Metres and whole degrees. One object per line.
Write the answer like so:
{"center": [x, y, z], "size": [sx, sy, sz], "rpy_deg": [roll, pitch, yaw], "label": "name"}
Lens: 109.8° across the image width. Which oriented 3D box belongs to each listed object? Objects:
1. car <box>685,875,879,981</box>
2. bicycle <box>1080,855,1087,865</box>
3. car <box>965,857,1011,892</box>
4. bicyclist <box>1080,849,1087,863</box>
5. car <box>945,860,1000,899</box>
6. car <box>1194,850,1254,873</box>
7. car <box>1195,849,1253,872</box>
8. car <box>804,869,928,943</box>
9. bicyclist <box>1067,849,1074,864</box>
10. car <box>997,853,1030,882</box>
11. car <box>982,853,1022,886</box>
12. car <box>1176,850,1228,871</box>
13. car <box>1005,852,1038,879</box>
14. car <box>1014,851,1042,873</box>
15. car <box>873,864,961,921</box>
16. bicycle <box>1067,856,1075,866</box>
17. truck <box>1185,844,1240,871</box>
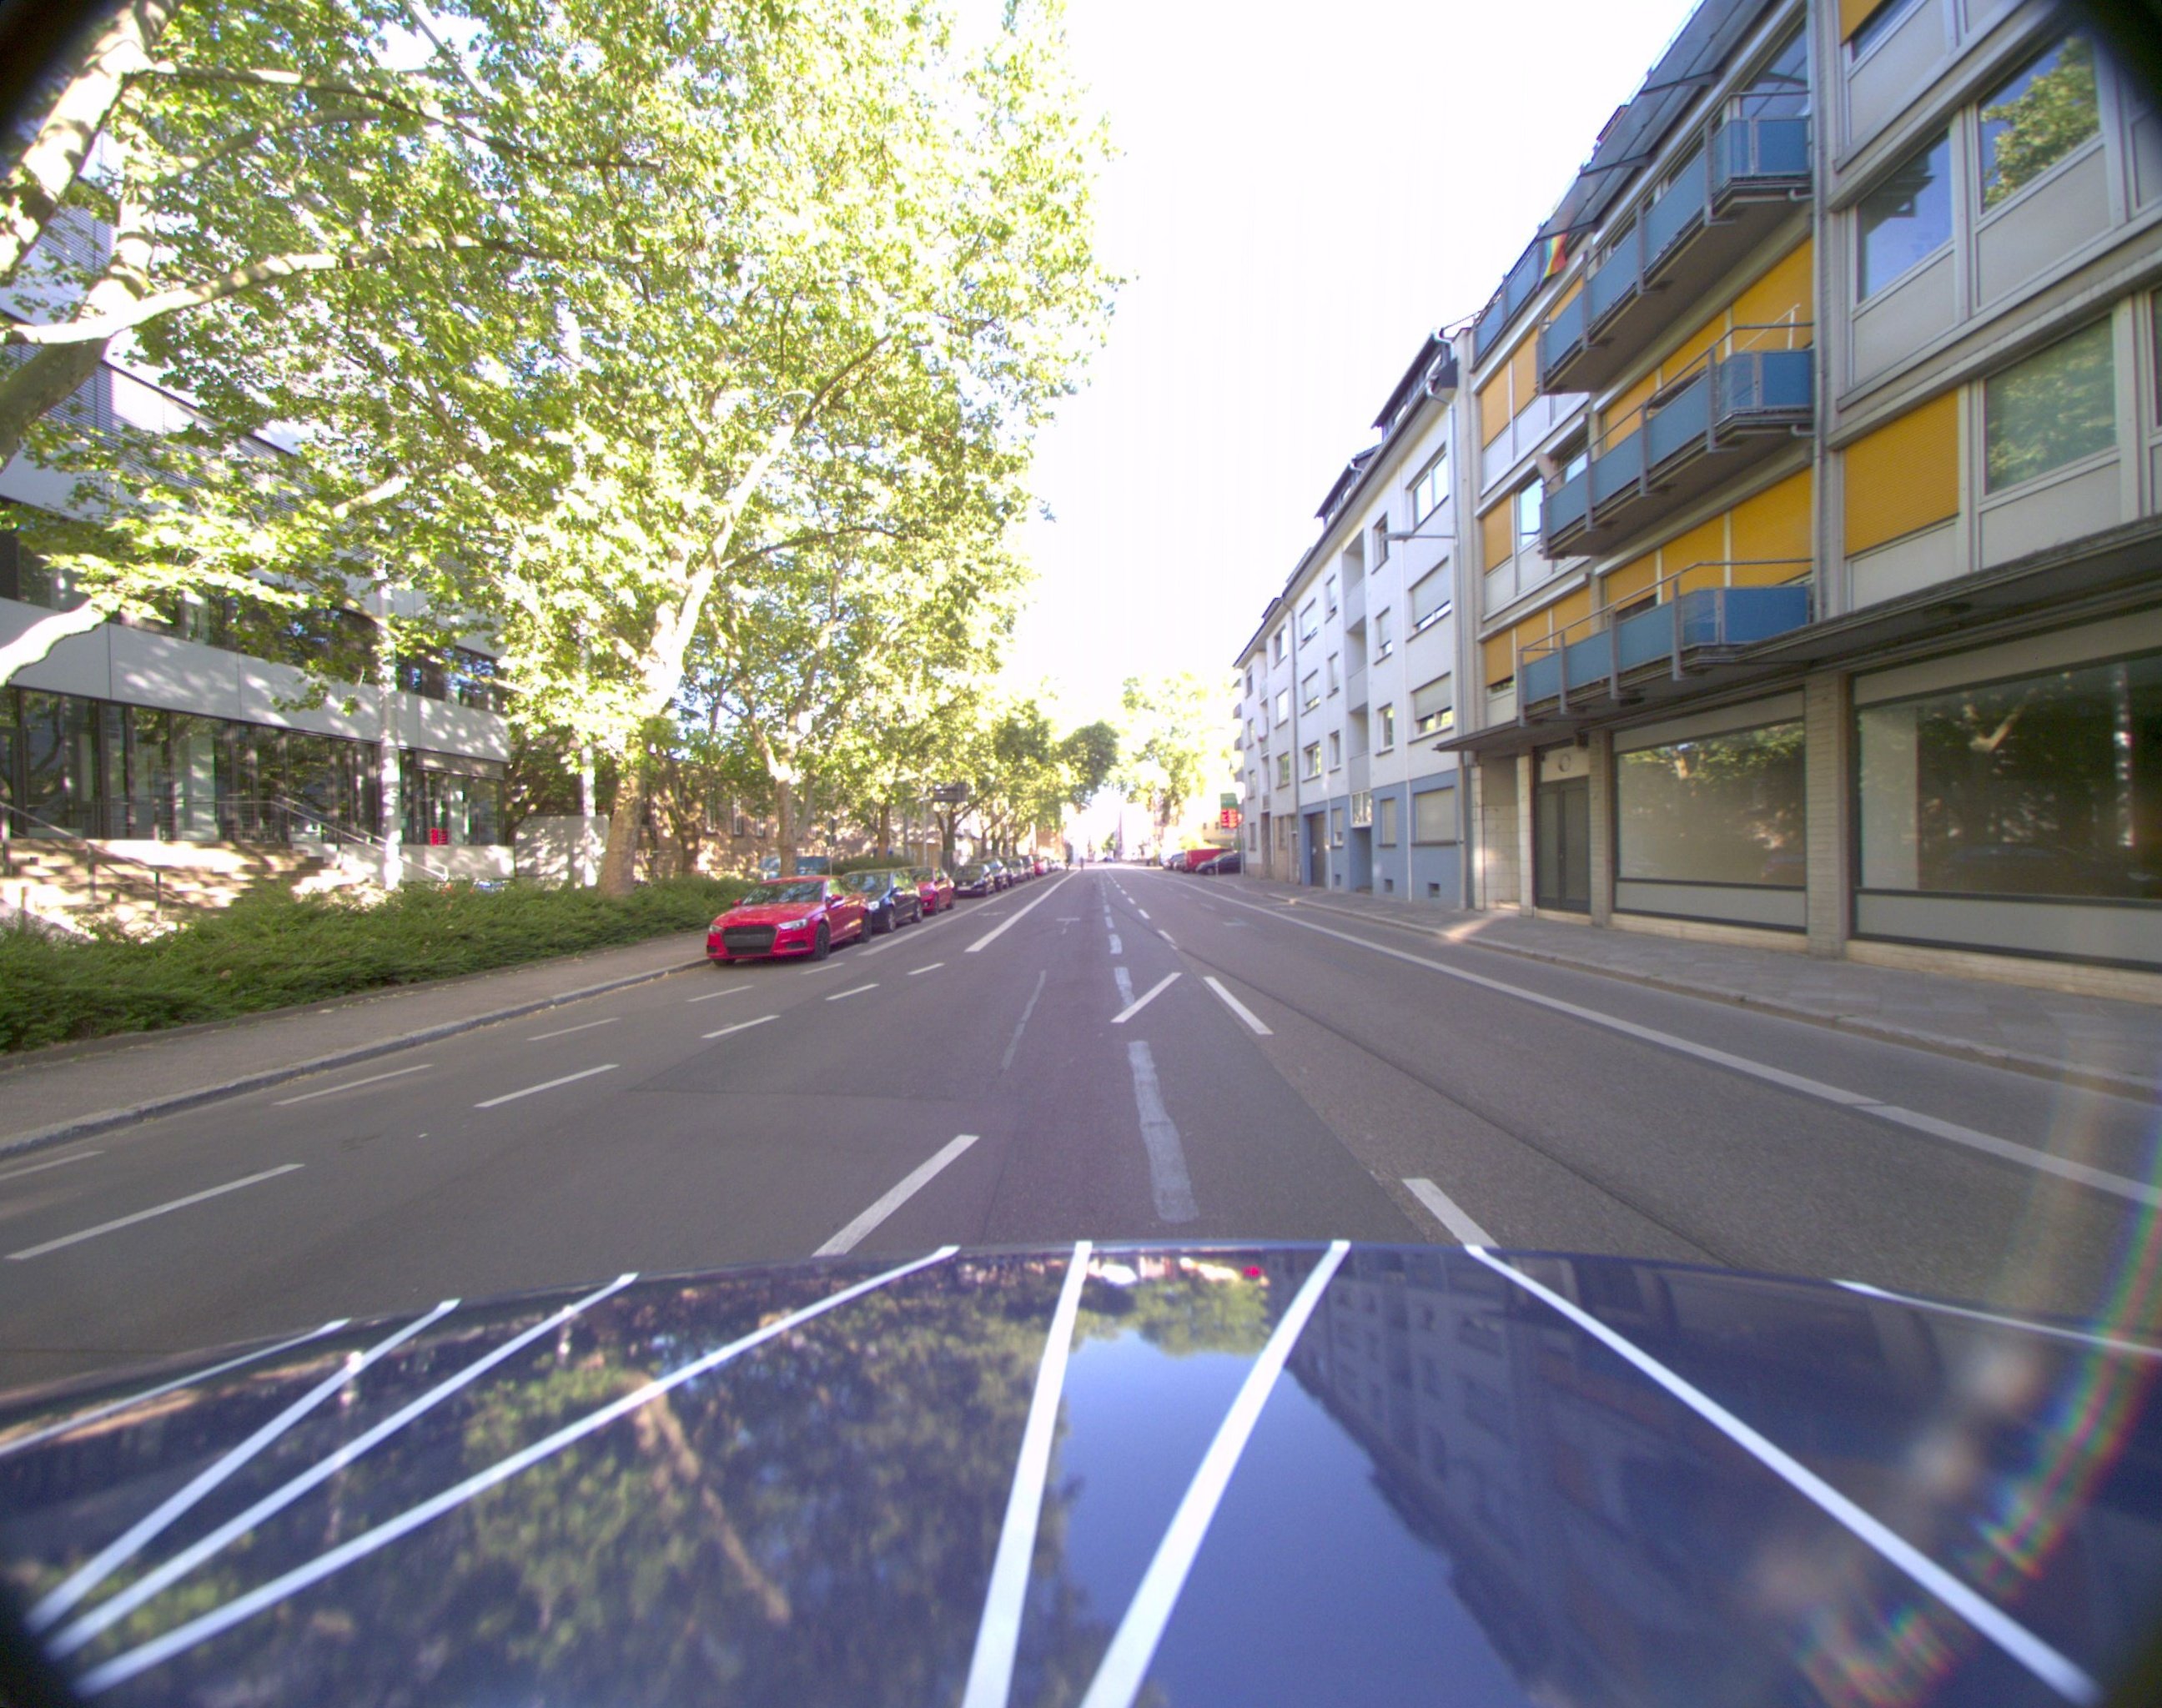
{"center": [-5.138, 1.193, 13.730], "size": [1.818, 1.405, 4.163], "rpy_deg": [-3, 0, 0], "label": "car"}
{"center": [0.273, 0.714, 86.005], "size": [0.717, 1.052, 2.485], "rpy_deg": [-2, 1, 1], "label": "bicycle"}
{"center": [-4.602, 0.978, 38.142], "size": [1.790, 1.544, 4.163], "rpy_deg": [-3, 0, 0], "label": "car"}
{"center": [0.251, 0.222, 86.007], "size": [0.718, 1.573, 0.936], "rpy_deg": [-2, 1, 1], "label": "bicyclist"}
{"center": [-4.703, 1.078, 33.396], "size": [1.790, 1.451, 4.163], "rpy_deg": [-3, 0, 0], "label": "car"}
{"center": [10.252, 0.543, 54.806], "size": [3.996, 1.449, 1.761], "rpy_deg": [-2, 1, 2], "label": "car"}
{"center": [10.726, 0.476, 57.153], "size": [3.996, 1.494, 1.761], "rpy_deg": [-2, 1, 2], "label": "car"}
{"center": [-5.083, 1.170, 18.586], "size": [1.818, 1.405, 4.163], "rpy_deg": [-3, 0, 0], "label": "car"}
{"center": [-1.148, 0.285, 85.244], "size": [0.718, 1.573, 0.936], "rpy_deg": [-2, 1, 1], "label": "bicyclist"}
{"center": [-4.448, 0.853, 50.714], "size": [1.790, 1.745, 4.552], "rpy_deg": [-3, 0, 0], "label": "car"}
{"center": [-4.526, 0.869, 44.159], "size": [1.790, 1.745, 4.345], "rpy_deg": [-3, 0, 0], "label": "car"}
{"center": [9.975, 0.523, 62.856], "size": [3.996, 1.494, 1.761], "rpy_deg": [-2, 1, 2], "label": "car"}
{"center": [-4.319, 0.797, 55.673], "size": [2.042, 1.745, 4.552], "rpy_deg": [-3, 0, 0], "label": "car"}
{"center": [-4.594, 0.700, 66.103], "size": [2.042, 1.745, 4.552], "rpy_deg": [-3, 0, 0], "label": "car"}
{"center": [-5.030, 1.124, 23.870], "size": [1.818, 1.475, 4.163], "rpy_deg": [-3, 0, 0], "label": "car"}
{"center": [-1.131, 0.775, 85.389], "size": [0.717, 1.052, 2.485], "rpy_deg": [-2, 1, 1], "label": "bicycle"}
{"center": [10.365, 0.242, 60.002], "size": [3.996, 1.925, 1.761], "rpy_deg": [-2, 1, 2], "label": "truck"}
